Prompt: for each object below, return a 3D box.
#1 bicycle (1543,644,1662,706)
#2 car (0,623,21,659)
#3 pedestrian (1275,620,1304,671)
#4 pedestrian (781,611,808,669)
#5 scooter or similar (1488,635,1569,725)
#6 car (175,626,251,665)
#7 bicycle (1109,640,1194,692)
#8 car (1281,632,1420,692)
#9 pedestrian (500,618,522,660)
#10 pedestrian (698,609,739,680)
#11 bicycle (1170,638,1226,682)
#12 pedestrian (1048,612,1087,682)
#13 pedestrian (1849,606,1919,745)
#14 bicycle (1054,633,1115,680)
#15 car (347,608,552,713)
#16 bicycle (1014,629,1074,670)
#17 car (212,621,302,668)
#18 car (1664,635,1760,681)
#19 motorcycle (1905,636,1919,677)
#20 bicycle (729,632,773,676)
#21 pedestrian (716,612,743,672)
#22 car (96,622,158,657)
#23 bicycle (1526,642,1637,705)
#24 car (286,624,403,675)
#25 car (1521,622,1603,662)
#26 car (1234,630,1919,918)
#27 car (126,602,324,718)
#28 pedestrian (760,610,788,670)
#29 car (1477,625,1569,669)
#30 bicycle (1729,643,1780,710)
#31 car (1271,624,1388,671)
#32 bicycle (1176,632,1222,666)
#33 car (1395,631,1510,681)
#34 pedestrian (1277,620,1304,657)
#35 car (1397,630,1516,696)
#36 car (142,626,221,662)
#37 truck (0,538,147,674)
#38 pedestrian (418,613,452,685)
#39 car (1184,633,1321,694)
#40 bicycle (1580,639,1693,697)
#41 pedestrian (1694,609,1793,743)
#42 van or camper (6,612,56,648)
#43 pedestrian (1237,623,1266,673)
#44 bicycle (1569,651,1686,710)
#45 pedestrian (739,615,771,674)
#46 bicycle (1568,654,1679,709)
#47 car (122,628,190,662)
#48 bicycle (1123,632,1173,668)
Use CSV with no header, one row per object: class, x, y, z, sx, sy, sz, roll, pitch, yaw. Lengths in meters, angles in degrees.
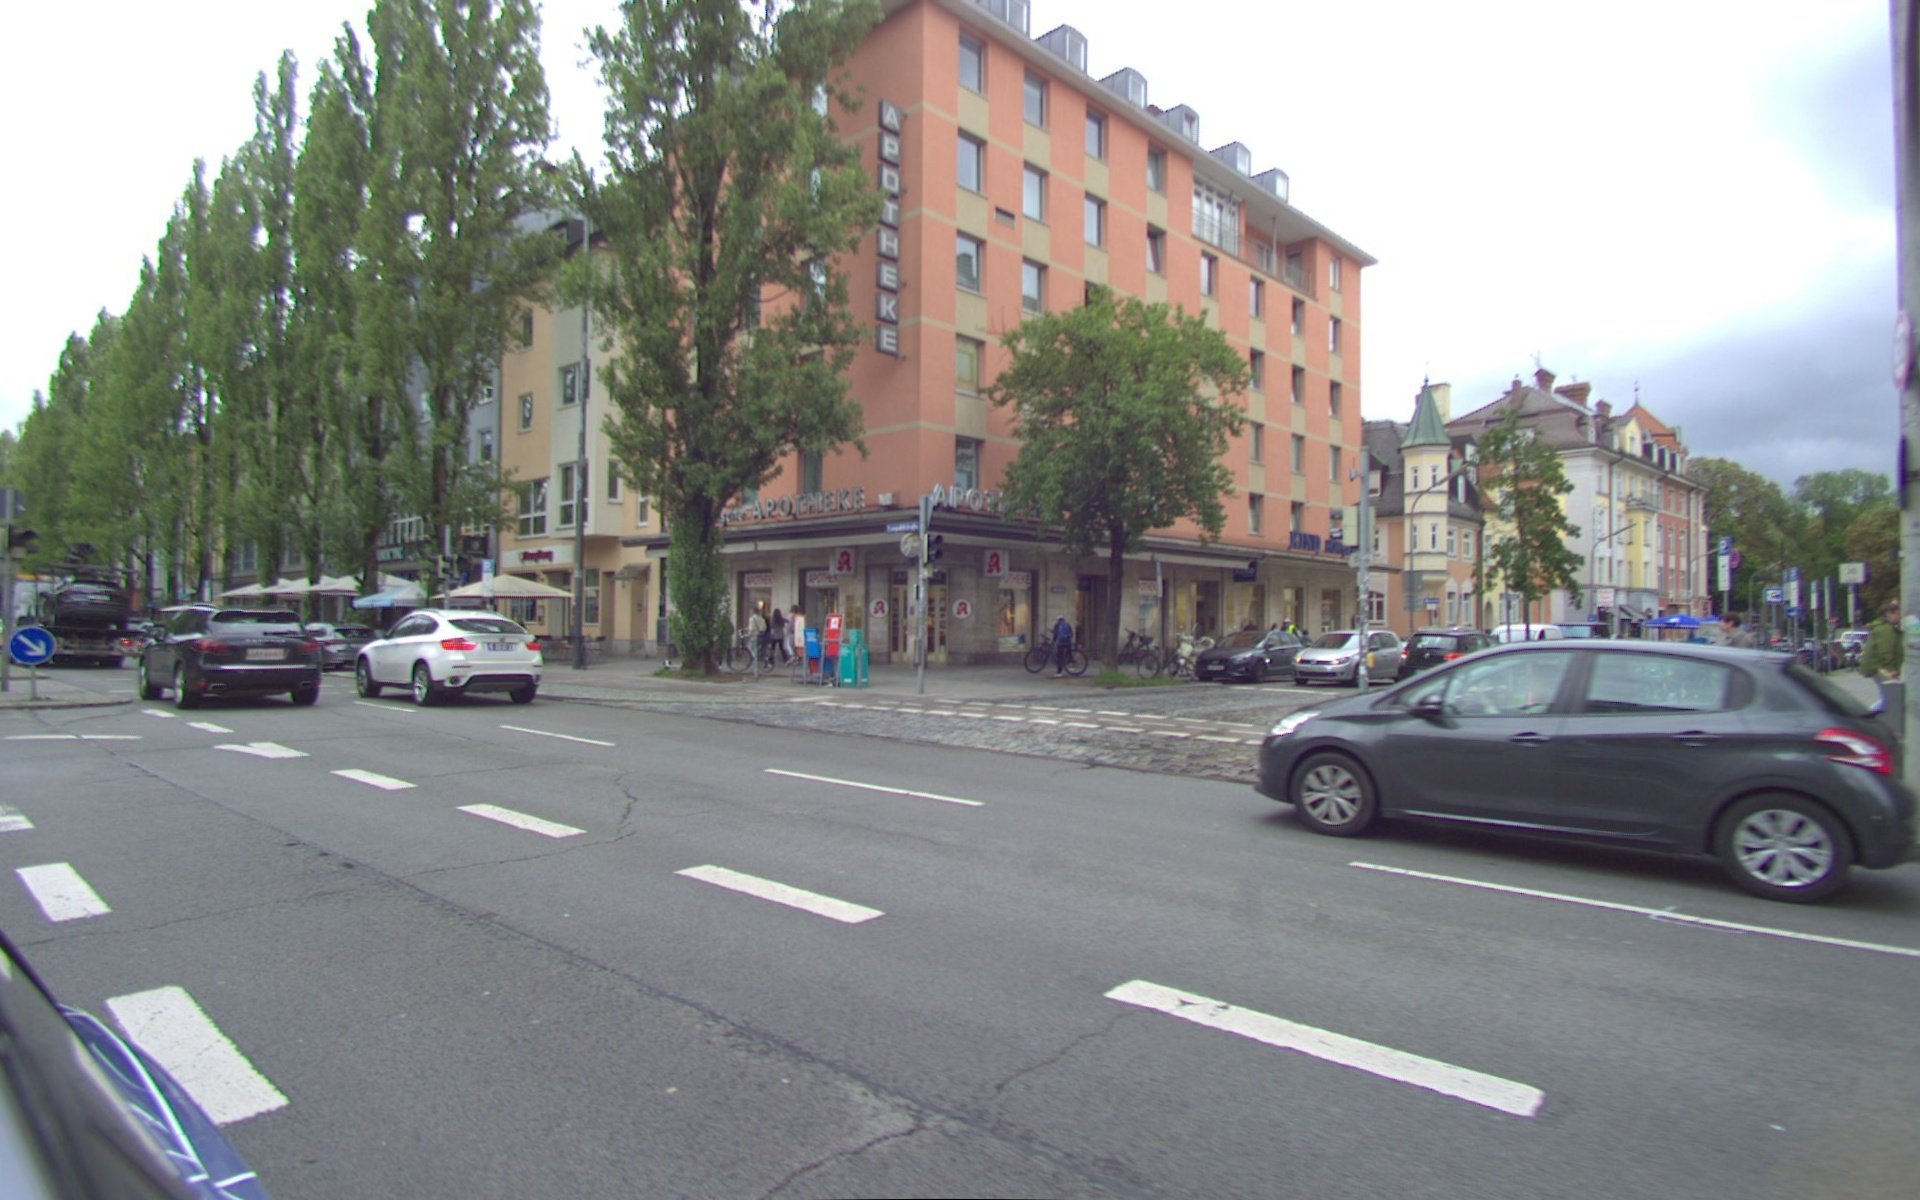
bicycle,13.131,1.506,20.740,2.028,1.193,0.411,-1,-2,35
car,-42.142,1.727,43.657,4.983,1.513,1.824,-1,-3,41
pedestrian,11.676,1.610,35.903,0.780,1.780,0.655,-1,-2,40
pedestrian,-4.877,1.176,29.897,0.514,1.704,0.580,-1,-2,41
scooter or similar,8.892,1.231,15.824,1.341,1.349,0.439,1,-2,-29
car,-29.536,1.778,39.973,4.184,1.392,1.478,-1,-3,41
bicycle,4.614,1.571,24.483,2.058,1.193,0.411,-1,-2,35
car,10.365,1.579,26.774,3.937,1.431,1.784,1,-2,-41
pedestrian,-18.542,1.610,41.792,0.691,1.731,0.549,-1,-2,40
pedestrian,-6.254,1.140,26.190,0.778,1.784,0.716,-1,-2,42
bicycle,7.030,1.737,29.824,2.031,1.193,0.538,0,0,-42
pedestrian,2.800,1.214,26.347,0.692,1.780,0.770,-1,-2,41
pedestrian,12.233,0.953,13.190,0.941,1.753,0.719,-1,0,41
bicycle,3.469,1.545,28.035,2.031,1.193,0.417,0,0,-42
car,-9.622,1.054,18.897,4.634,1.729,1.818,-1,-3,42
bicycle,2.527,1.463,30.414,0.690,1.193,2.034,-1,-2,43
car,-25.214,1.572,36.258,4.094,1.595,1.685,-1,-3,41
car,25.508,1.954,34.307,3.940,1.482,2.001,3,-4,-44
motorcycle,31.492,1.836,33.263,0.558,1.298,2.108,-2,-2,45
bicycle,-5.558,1.419,26.838,1.373,1.150,0.416,-1,-2,42
pedestrian,-6.501,1.174,28.543,0.626,1.683,0.501,-1,-1,42
car,-41.891,1.970,50.860,4.585,1.693,1.760,-1,-3,42
bicycle,12.404,1.443,20.233,1.849,1.193,0.411,-1,-2,35
car,-19.228,1.514,31.530,4.586,1.449,1.686,-1,-3,40
car,23.273,1.575,39.097,4.008,1.431,1.787,1,-1,-45
car,4.103,0.954,6.946,3.994,1.450,1.625,-1,-3,40
car,-12.764,0.959,17.479,4.437,1.759,1.864,-1,-2,42
pedestrian,-5.377,1.140,29.284,0.519,1.701,0.623,-1,0,42
car,19.741,1.595,35.430,4.008,1.431,1.787,1,-1,-45
bicycle,16.096,1.516,20.481,0.558,1.259,2.108,-2,-2,45
car,11.981,1.485,32.748,3.886,1.431,1.894,1,-2,-40
bicycle,8.650,1.755,36.568,0.690,1.193,2.034,-1,-2,43
car,15.093,1.662,30.941,3.937,1.431,1.745,1,-2,-41
pedestrian,12.692,1.468,38.882,0.780,1.401,0.655,-1,0,40
car,12.194,1.479,24.764,1.771,1.486,3.654,-1,-2,40
car,-33.296,1.857,43.251,4.429,1.423,1.686,-1,-3,39
truck,-27.583,0.240,31.194,8.435,3.698,2.437,-1,-2,41
pedestrian,-13.593,1.255,26.198,0.725,1.809,0.995,0,0,-31
car,8.155,1.699,28.117,3.937,1.431,1.784,0,0,-41
bicycle,14.856,1.466,22.292,0.409,1.193,2.069,1,-2,-33
pedestrian,9.993,0.942,12.907,0.934,1.631,0.770,-1,-2,41
van or camper,-69.727,2.301,75.931,6.641,2.570,2.103,-2,-3,42
pedestrian,10.619,1.742,36.856,0.780,1.780,0.655,-1,0,40
bicycle,14.087,1.690,21.408,1.995,1.193,0.413,-1,-2,22
pedestrian,-5.683,1.227,28.063,0.548,1.595,0.649,-1,-2,42
bicycle,15.107,1.839,23.102,2.052,1.193,0.447,-1,-2,26
car,-37.260,2.055,46.849,4.368,1.477,1.659,-1,-3,41
bicycle,6.377,1.676,34.240,0.690,1.193,2.034,-1,-2,43
